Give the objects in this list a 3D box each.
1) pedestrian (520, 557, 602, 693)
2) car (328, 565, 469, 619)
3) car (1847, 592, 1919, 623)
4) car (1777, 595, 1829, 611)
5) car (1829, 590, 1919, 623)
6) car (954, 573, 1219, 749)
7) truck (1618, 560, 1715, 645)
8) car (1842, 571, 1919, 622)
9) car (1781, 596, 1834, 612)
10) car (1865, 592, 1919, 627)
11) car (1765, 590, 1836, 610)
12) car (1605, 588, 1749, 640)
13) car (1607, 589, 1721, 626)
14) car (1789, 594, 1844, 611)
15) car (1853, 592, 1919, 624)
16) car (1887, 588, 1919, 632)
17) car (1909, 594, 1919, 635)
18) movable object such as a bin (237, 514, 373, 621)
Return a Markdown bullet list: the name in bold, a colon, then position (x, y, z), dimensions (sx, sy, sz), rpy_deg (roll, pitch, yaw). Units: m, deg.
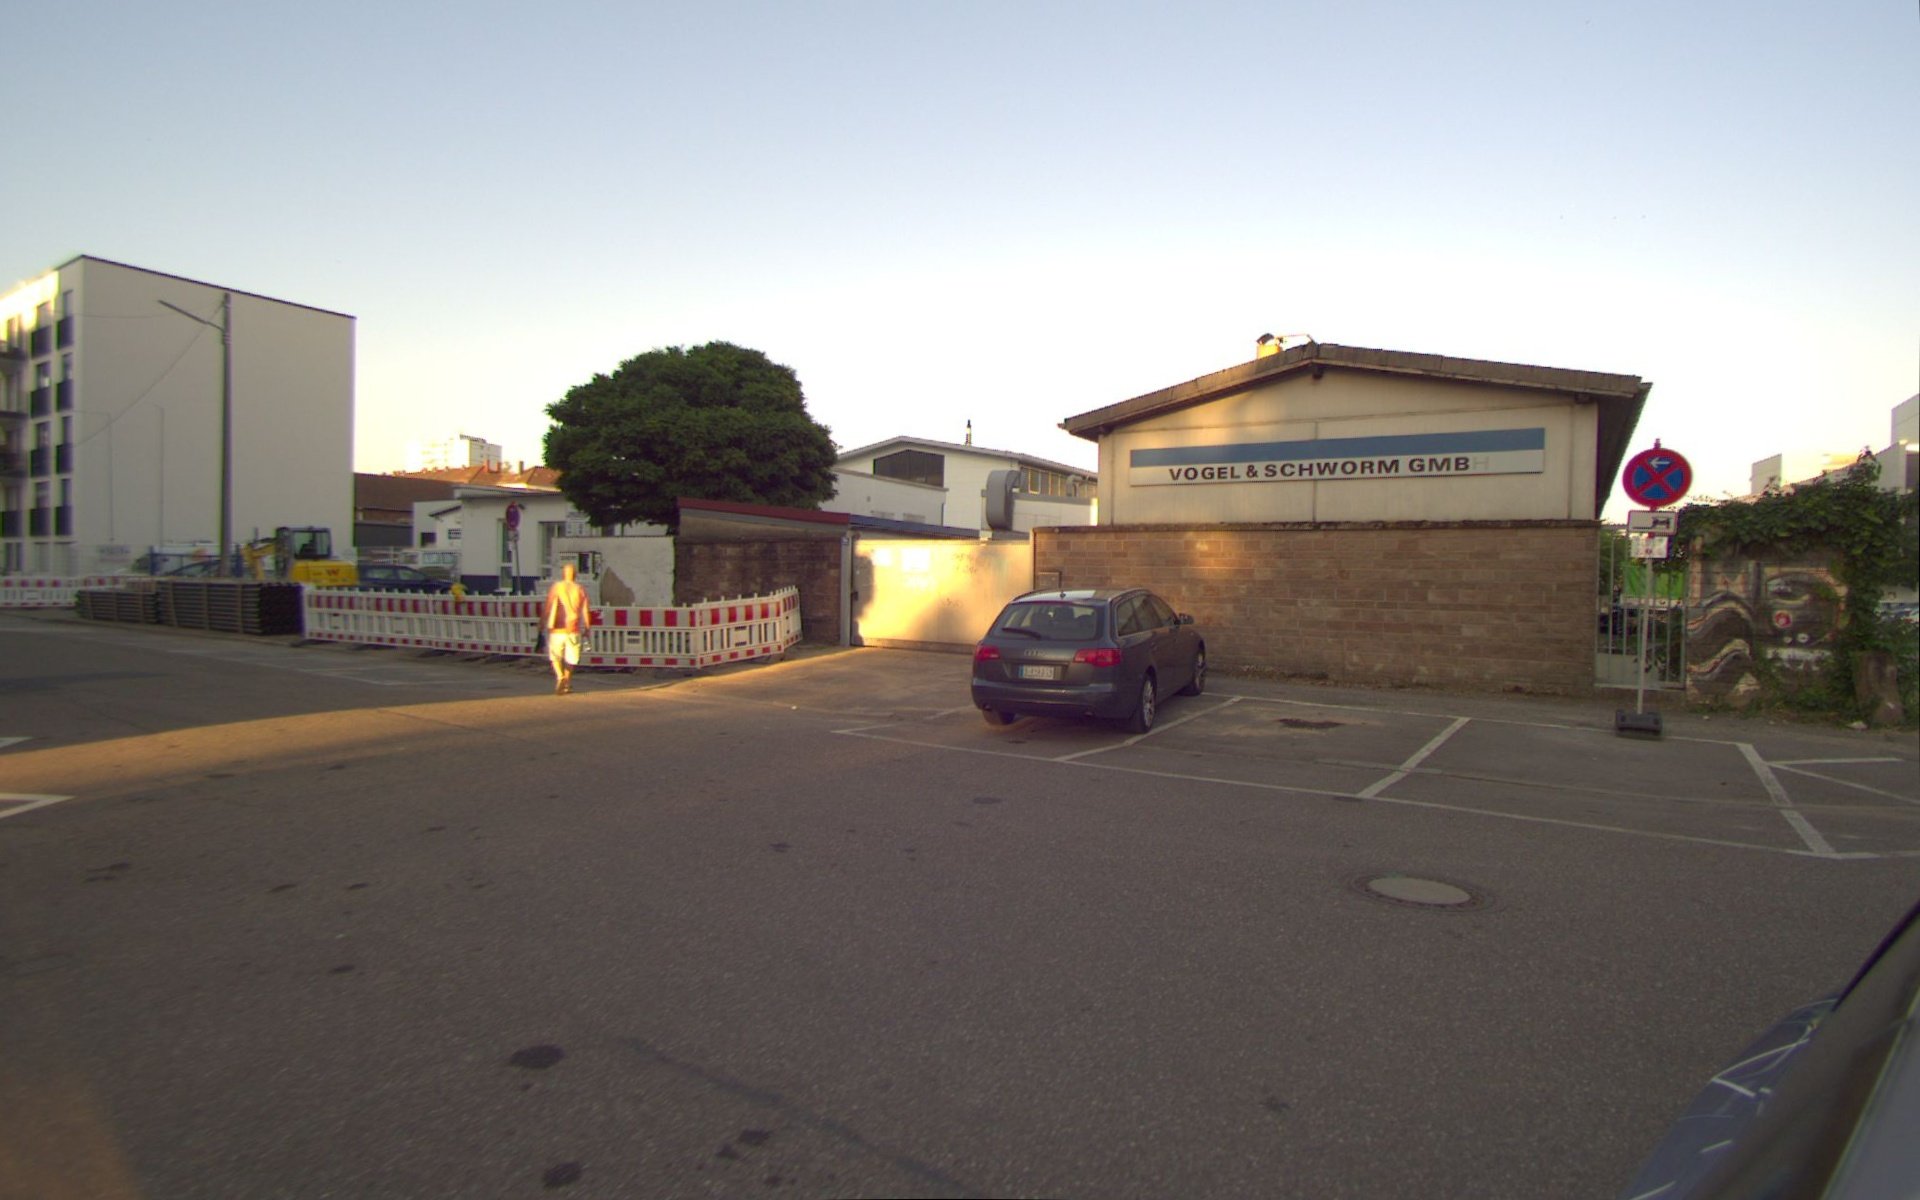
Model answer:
- **pedestrian**: position (-5.130, 0.315, 13.011), dimensions (0.772, 1.686, 0.628), rpy_deg (3, -1, -41)
- **car**: position (-19.145, -0.294, 34.593), dimensions (3.930, 1.725, 1.846), rpy_deg (0, 1, -41)
- **car**: position (47.306, 0.380, 51.047), dimensions (3.698, 1.514, 1.685), rpy_deg (0, 0, 37)
- **car**: position (80.256, 0.283, 96.442), dimensions (3.633, 1.442, 1.704), rpy_deg (0, 0, 35)
- **car**: position (53.284, 0.345, 58.710), dimensions (4.091, 1.840, 1.794), rpy_deg (0, 0, 33)
- **car**: position (1.714, 0.498, 11.892), dimensions (1.813, 1.549, 4.691), rpy_deg (1, 3, 24)
- **truck**: position (20.737, 0.080, 29.813), dimensions (2.091, 2.228, 5.640), rpy_deg (2, 0, 34)
- **car**: position (50.803, -0.170, 54.094), dimensions (5.370, 2.666, 2.049), rpy_deg (0, 0, 38)
- **car**: position (78.872, 0.342, 94.220), dimensions (3.635, 1.442, 1.703), rpy_deg (0, 0, 36)
- **car**: position (42.870, 0.443, 44.979), dimensions (3.769, 1.542, 1.672), rpy_deg (0, 0, 35)
- **car**: position (81.601, 0.031, 98.364), dimensions (5.043, 1.905, 1.869), rpy_deg (0, 0, 31)
- **car**: position (23.426, 0.409, 33.175), dimensions (3.749, 1.554, 1.867), rpy_deg (1, 2, 37)
- **car**: position (30.234, 0.290, 43.550), dimensions (3.972, 1.463, 1.804), rpy_deg (1, 1, 36)
- **car**: position (77.586, 0.231, 91.687), dimensions (3.635, 1.567, 1.703), rpy_deg (0, 0, 36)
- **car**: position (46.036, 0.364, 48.845), dimensions (4.299, 1.514, 1.769), rpy_deg (0, 0, 39)
- **car**: position (39.620, 0.402, 39.771), dimensions (4.613, 1.728, 1.975), rpy_deg (0, 0, 41)
- **car**: position (38.030, 0.562, 37.789), dimensions (3.662, 1.530, 1.671), rpy_deg (0, 0, 41)
- **movable object such as a bin**: position (-18.366, -0.870, 28.240), dimensions (2.626, 2.693, 5.196), rpy_deg (1, 1, -39)
